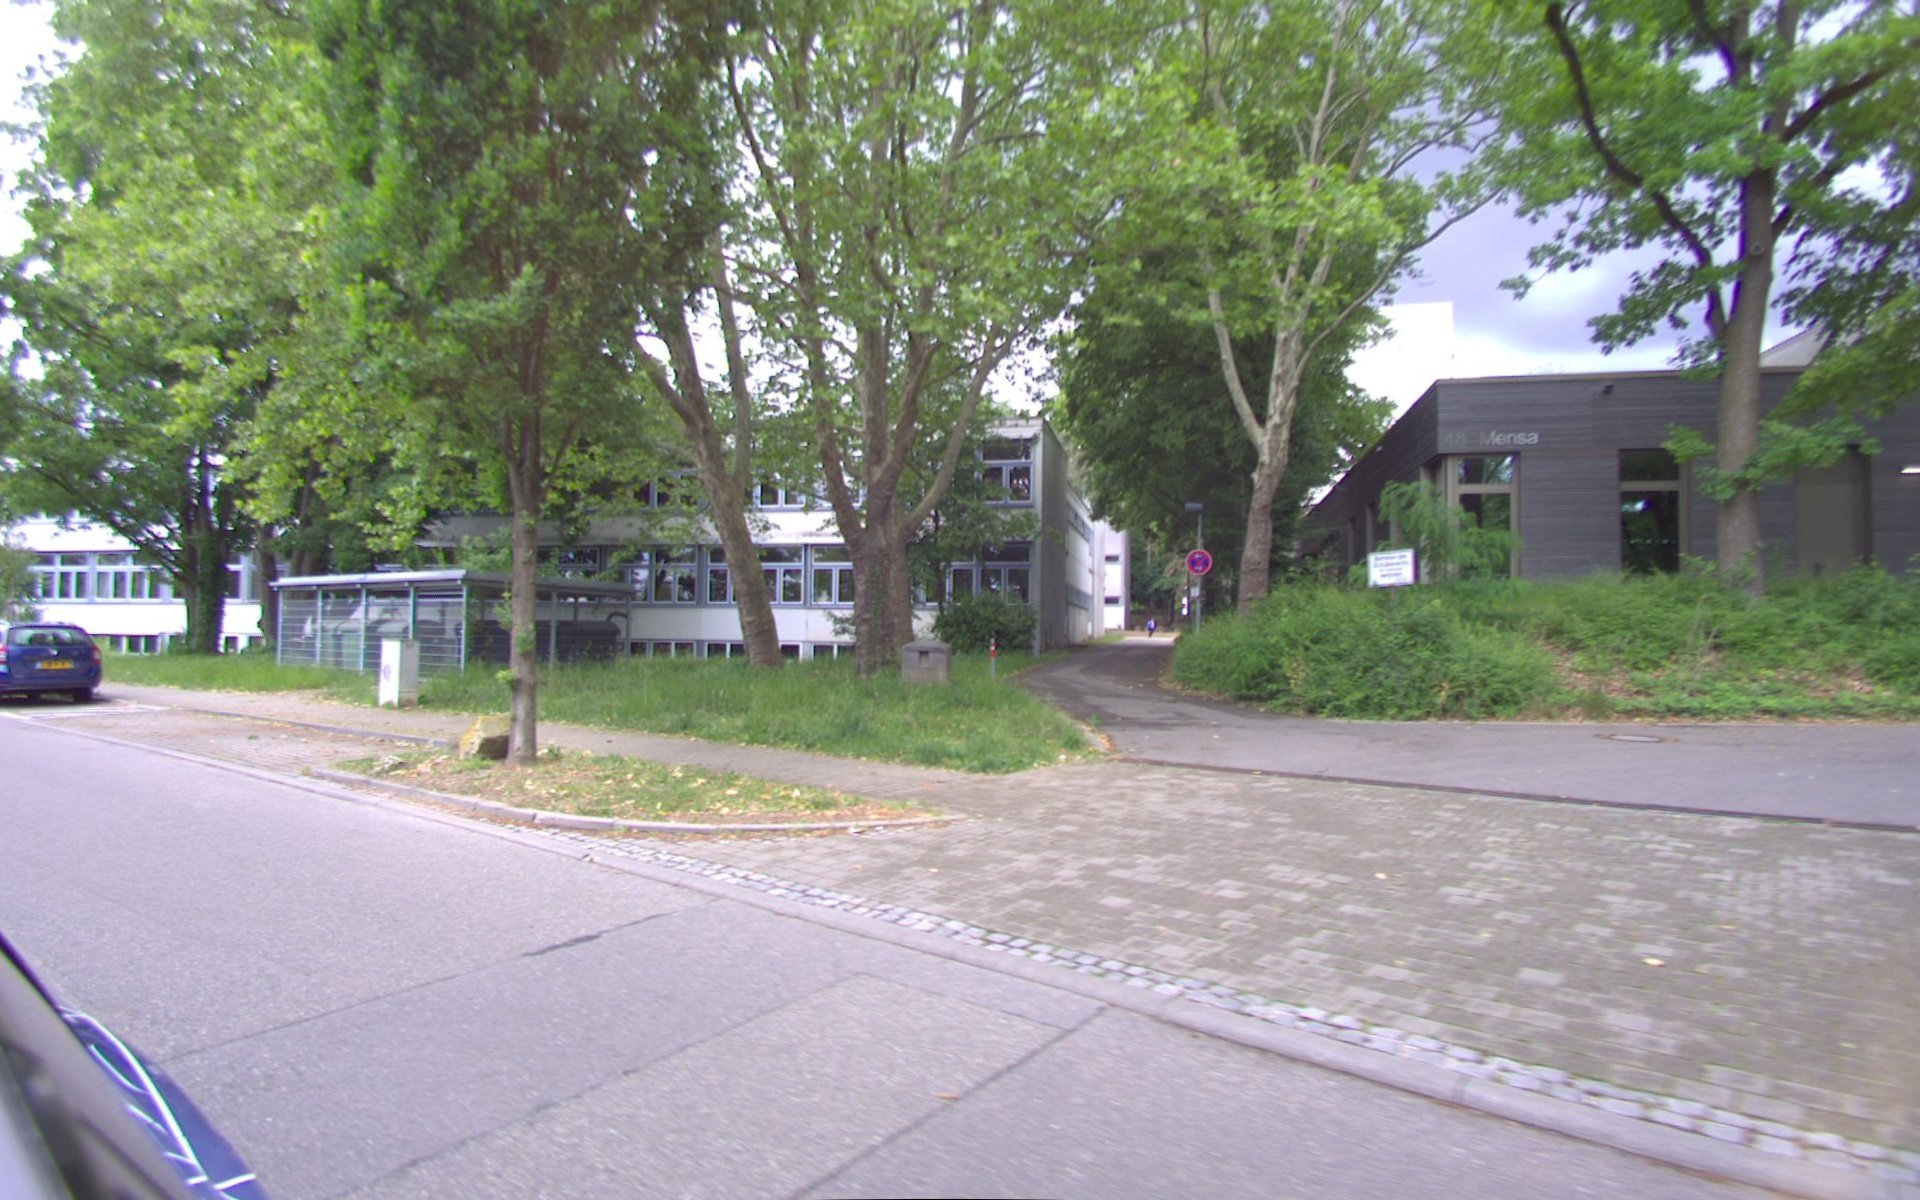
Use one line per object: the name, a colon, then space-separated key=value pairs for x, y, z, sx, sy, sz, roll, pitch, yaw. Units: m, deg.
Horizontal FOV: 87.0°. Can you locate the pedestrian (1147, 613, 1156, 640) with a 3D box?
pedestrian: x=14.499 y=1.981 z=76.655 sx=0.615 sy=2.029 sz=0.603 roll=-1 pitch=-3 yaw=12

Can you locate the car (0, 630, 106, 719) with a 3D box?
car: x=-18.004 y=1.332 z=19.037 sx=4.416 sy=1.523 sz=1.667 roll=-1 pitch=-2 yaw=32
